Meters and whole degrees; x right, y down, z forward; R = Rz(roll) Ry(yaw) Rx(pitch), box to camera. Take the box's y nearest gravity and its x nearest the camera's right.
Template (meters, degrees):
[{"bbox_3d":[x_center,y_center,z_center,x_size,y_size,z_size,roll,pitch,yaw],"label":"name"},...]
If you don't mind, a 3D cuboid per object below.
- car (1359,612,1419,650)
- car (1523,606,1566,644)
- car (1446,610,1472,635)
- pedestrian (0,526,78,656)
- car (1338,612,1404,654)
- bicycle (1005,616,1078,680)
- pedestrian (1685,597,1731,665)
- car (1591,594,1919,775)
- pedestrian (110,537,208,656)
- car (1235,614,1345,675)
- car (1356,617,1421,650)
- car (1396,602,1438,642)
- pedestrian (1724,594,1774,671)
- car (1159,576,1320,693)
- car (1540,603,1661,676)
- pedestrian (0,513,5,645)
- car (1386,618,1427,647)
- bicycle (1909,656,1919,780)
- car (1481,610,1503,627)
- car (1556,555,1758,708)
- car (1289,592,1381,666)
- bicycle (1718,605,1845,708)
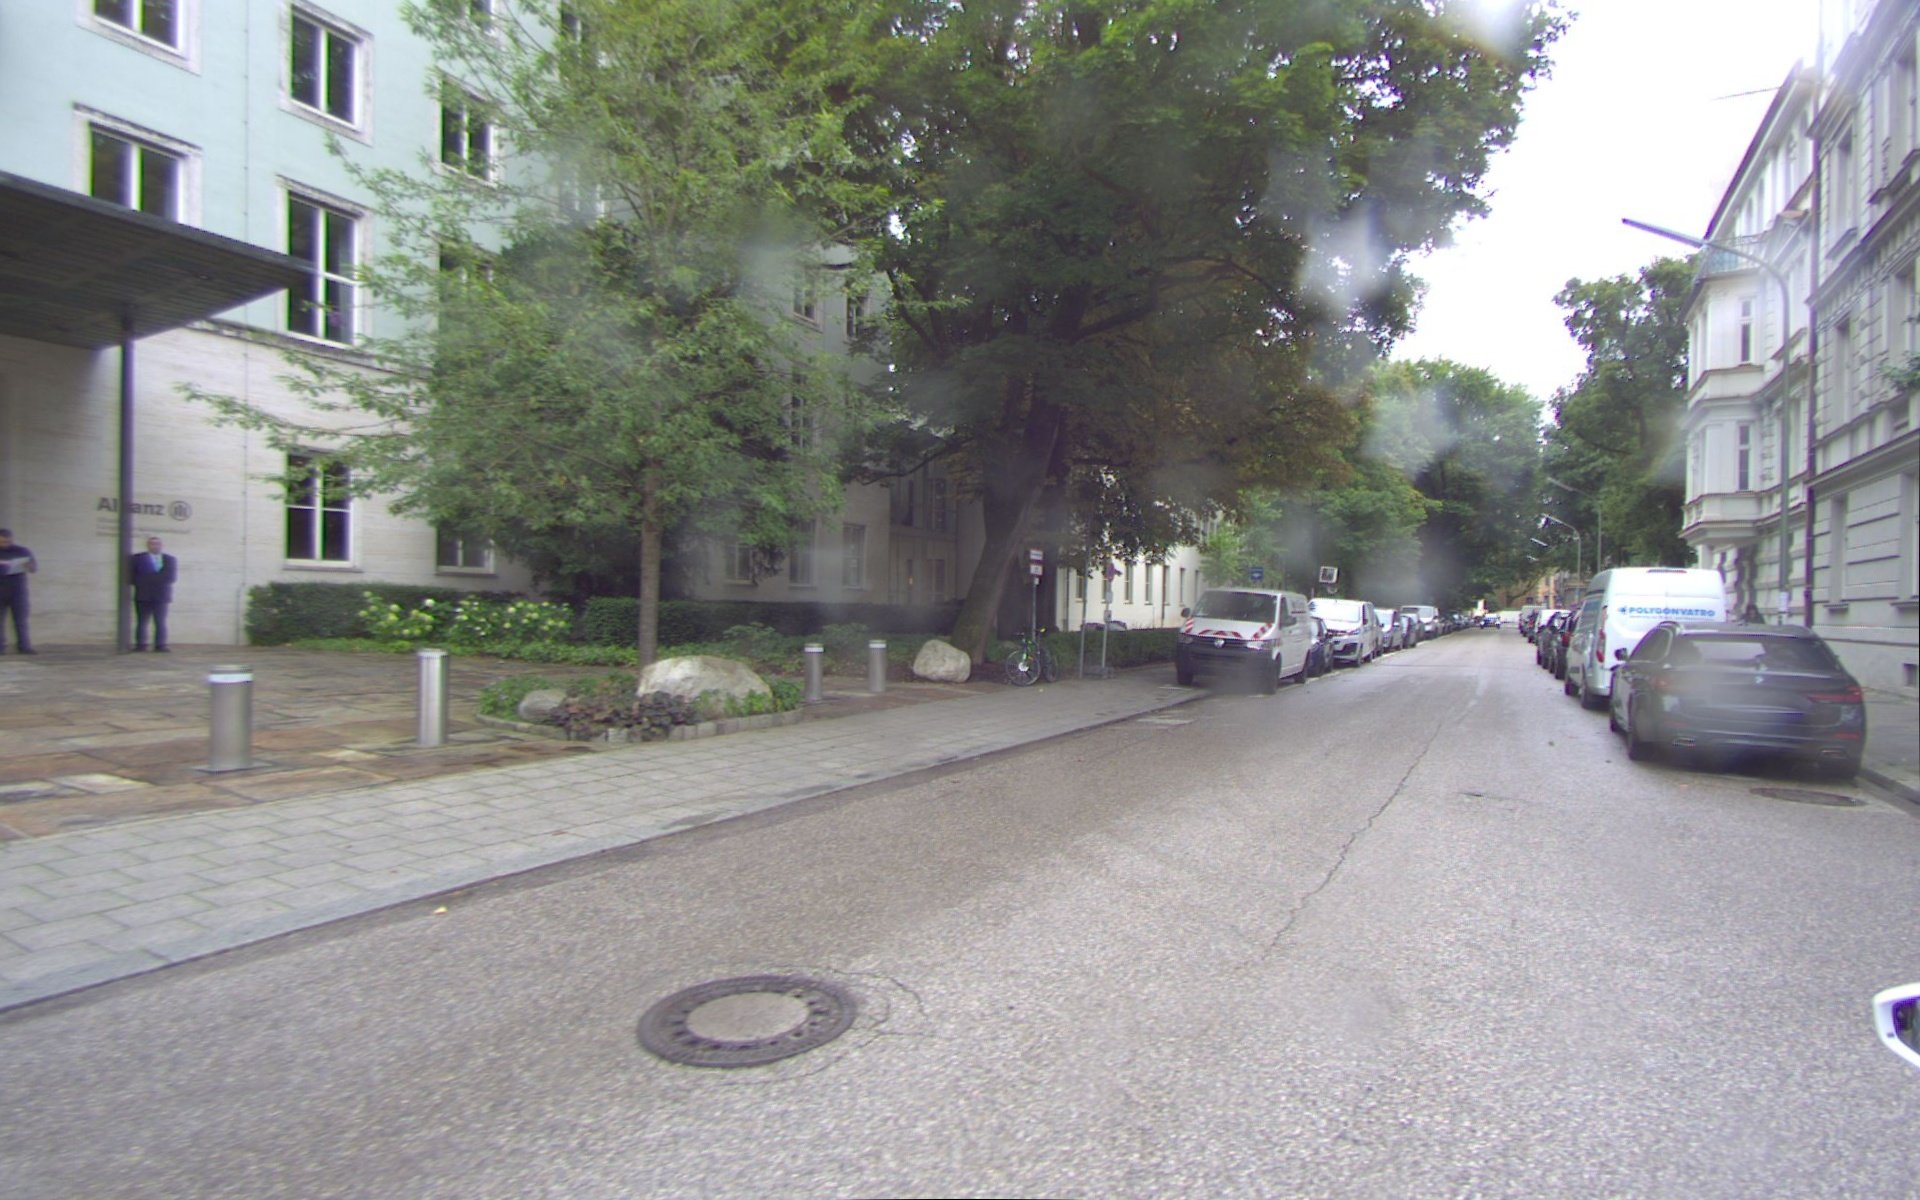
[{"bbox_3d":[19.307,1.375,45.123,1.931,1.548,4.035,2,0,30],"label":"car"},{"bbox_3d":[32.116,1.341,55.228,1.965,2.002,3.992,0,0,30],"label":"car"},{"bbox_3d":[46.430,2.084,93.448,2.015,2.183,4.310,2,0,25],"label":"car"},{"bbox_3d":[-13.261,-0.111,14.210,0.738,1.776,0.900,1,-1,24],"label":"pedestrian"},{"bbox_3d":[16.748,1.293,40.846,2.038,1.540,4.231,2,0,28],"label":"car"},{"bbox_3d":[1.527,0.864,18.633,0.623,1.117,1.764,2,0,30],"label":"bicycle"},{"bbox_3d":[19.119,0.782,25.686,0.846,1.710,0.775,1,0,30],"label":"pedestrian"},{"bbox_3d":[8.485,0.789,11.238,2.240,1.566,4.578,-1,-1,30],"label":"car"},{"bbox_3d":[-12.410,-0.042,15.576,0.738,1.776,0.900,1,-1,24],"label":"pedestrian"},{"bbox_3d":[8.528,1.074,25.756,2.178,1.347,3.944,2,0,25],"label":"car"},{"bbox_3d":[19.263,1.471,45.071,2.088,1.347,4.129,2,0,31],"label":"car"},{"bbox_3d":[27.206,1.295,59.702,1.972,2.216,4.690,2,0,27],"label":"car"},{"bbox_3d":[19.294,0.783,24.587,0.846,1.859,0.666,1,0,30],"label":"pedestrian"},{"bbox_3d":[5.857,0.626,20.482,2.212,1.982,5.448,2,0,25],"label":"car"},{"bbox_3d":[15.901,0.948,25.170,2.105,1.651,4.311,-1,-1,27],"label":"car"},{"bbox_3d":[-13.422,-0.287,13.376,0.884,1.776,0.752,1,0,25],"label":"pedestrian"},{"bbox_3d":[23.096,1.623,51.913,1.791,1.347,4.096,2,0,25],"label":"car"},{"bbox_3d":[8.198,1.009,7.453,0.642,1.042,2.203,0,1,13],"label":"bicycle"},{"bbox_3d":[58.324,2.026,110.122,1.965,1.806,3.992,0,-1,30],"label":"car"},{"bbox_3d":[11.777,0.524,17.365,2.170,2.237,4.850,-1,-1,27],"label":"car"},{"bbox_3d":[11.543,0.834,30.710,2.149,1.982,5.162,2,0,25],"label":"car"},{"bbox_3d":[13.081,0.852,16.075,0.695,1.535,2.040,1,0,12],"label":"bicycle"}]
